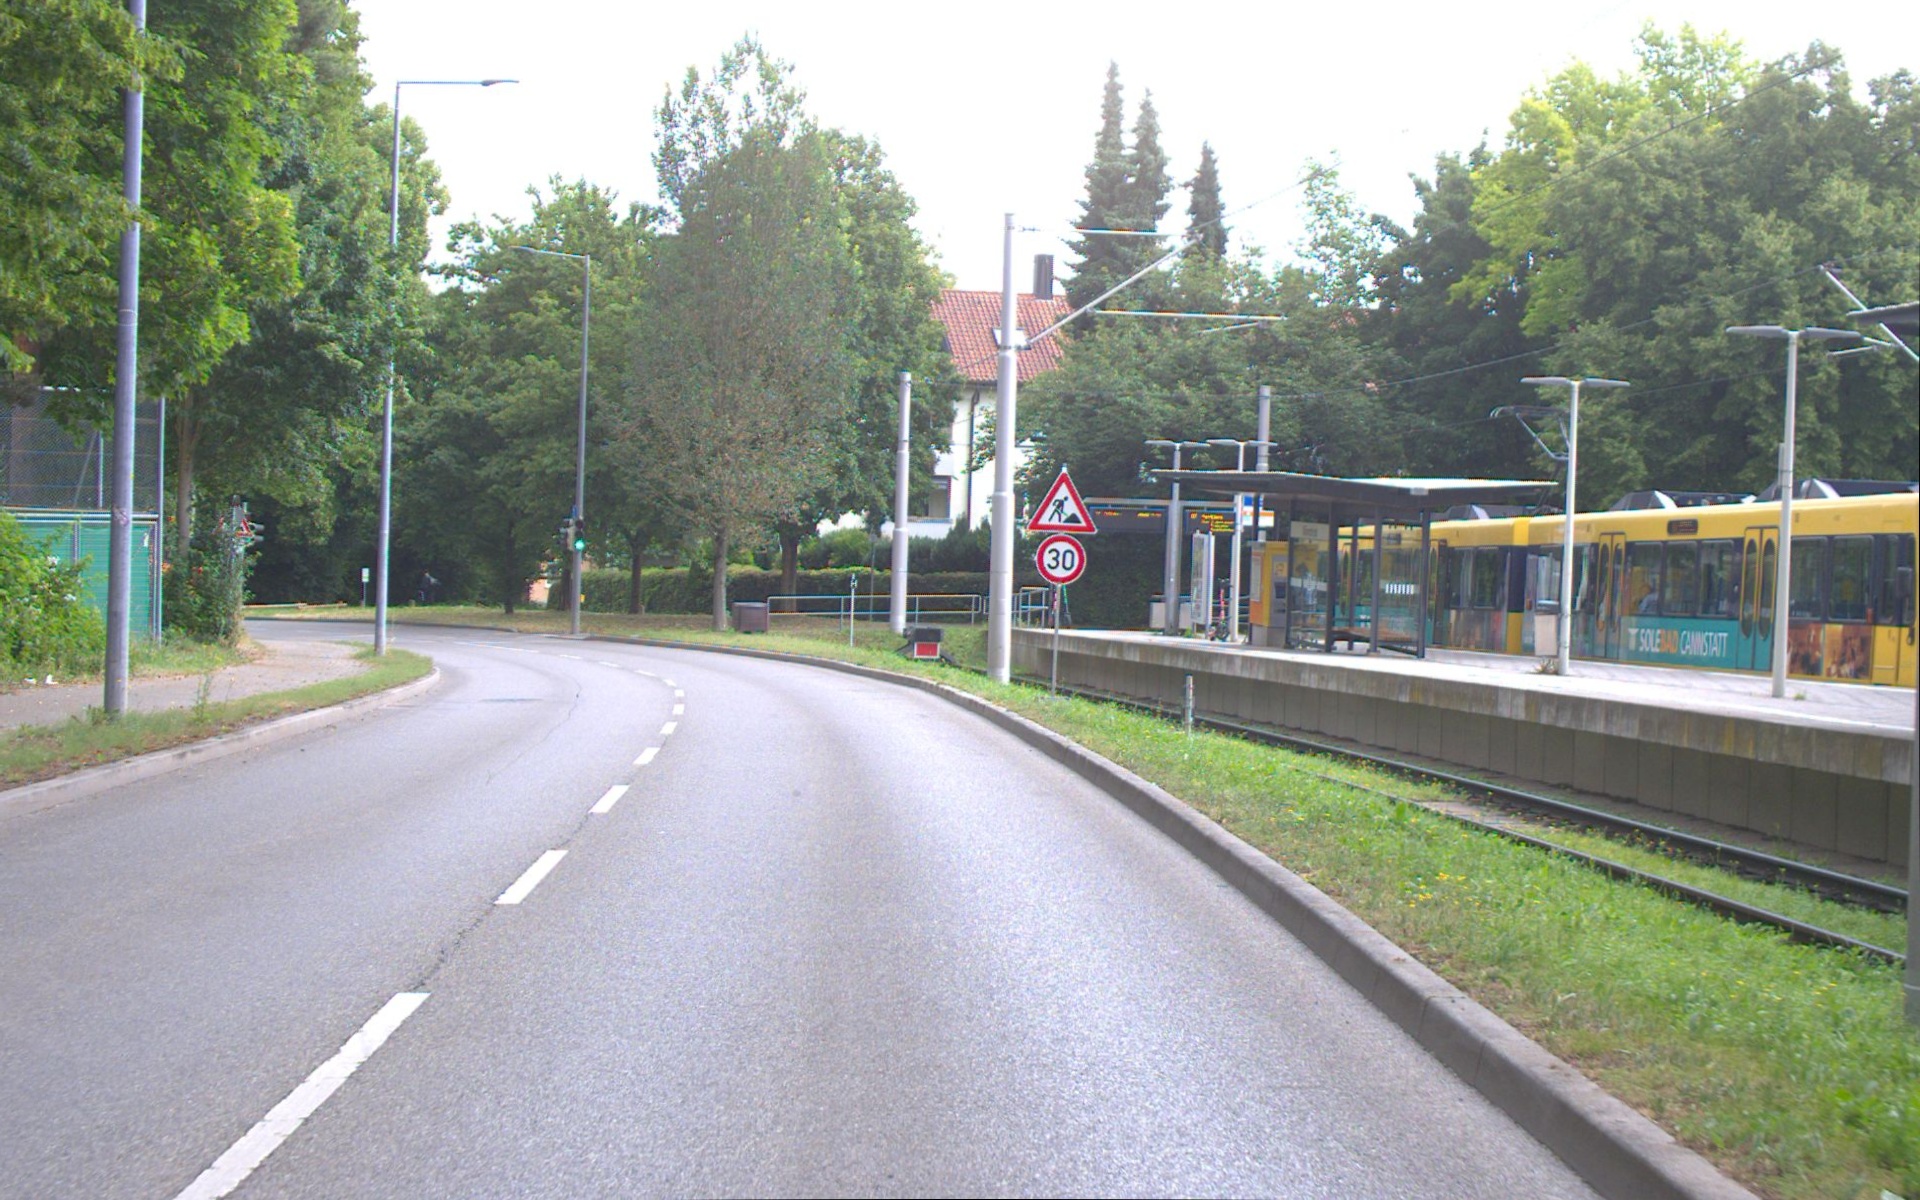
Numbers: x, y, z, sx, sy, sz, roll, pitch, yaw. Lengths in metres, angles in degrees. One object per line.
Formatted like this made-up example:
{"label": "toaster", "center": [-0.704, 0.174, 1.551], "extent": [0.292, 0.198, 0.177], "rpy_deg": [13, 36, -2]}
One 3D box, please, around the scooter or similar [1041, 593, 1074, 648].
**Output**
{"label": "scooter or similar", "center": [2.238, 0.475, 79.118], "extent": [0.429, 1.249, 1.255], "rpy_deg": [1, -2, -15]}

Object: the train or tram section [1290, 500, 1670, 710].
{"label": "train or tram section", "center": [10.140, 0.020, 70.562], "extent": [2.813, 3.576, 19.517], "rpy_deg": [3, 0, -6]}

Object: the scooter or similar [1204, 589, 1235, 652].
{"label": "scooter or similar", "center": [5.232, 0.407, 69.354], "extent": [0.368, 1.238, 1.146], "rpy_deg": [1, 0, -7]}

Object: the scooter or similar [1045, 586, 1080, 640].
{"label": "scooter or similar", "center": [2.425, 0.315, 81.493], "extent": [0.429, 1.249, 1.255], "rpy_deg": [1, -2, -19]}

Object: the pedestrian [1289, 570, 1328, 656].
{"label": "pedestrian", "center": [6.454, 0.244, 63.642], "extent": [0.623, 1.567, 0.665], "rpy_deg": [1, -1, 11]}

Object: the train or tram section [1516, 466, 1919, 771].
{"label": "train or tram section", "center": [12.260, 0.218, 51.039], "extent": [2.813, 3.724, 19.517], "rpy_deg": [3, 0, -6]}
